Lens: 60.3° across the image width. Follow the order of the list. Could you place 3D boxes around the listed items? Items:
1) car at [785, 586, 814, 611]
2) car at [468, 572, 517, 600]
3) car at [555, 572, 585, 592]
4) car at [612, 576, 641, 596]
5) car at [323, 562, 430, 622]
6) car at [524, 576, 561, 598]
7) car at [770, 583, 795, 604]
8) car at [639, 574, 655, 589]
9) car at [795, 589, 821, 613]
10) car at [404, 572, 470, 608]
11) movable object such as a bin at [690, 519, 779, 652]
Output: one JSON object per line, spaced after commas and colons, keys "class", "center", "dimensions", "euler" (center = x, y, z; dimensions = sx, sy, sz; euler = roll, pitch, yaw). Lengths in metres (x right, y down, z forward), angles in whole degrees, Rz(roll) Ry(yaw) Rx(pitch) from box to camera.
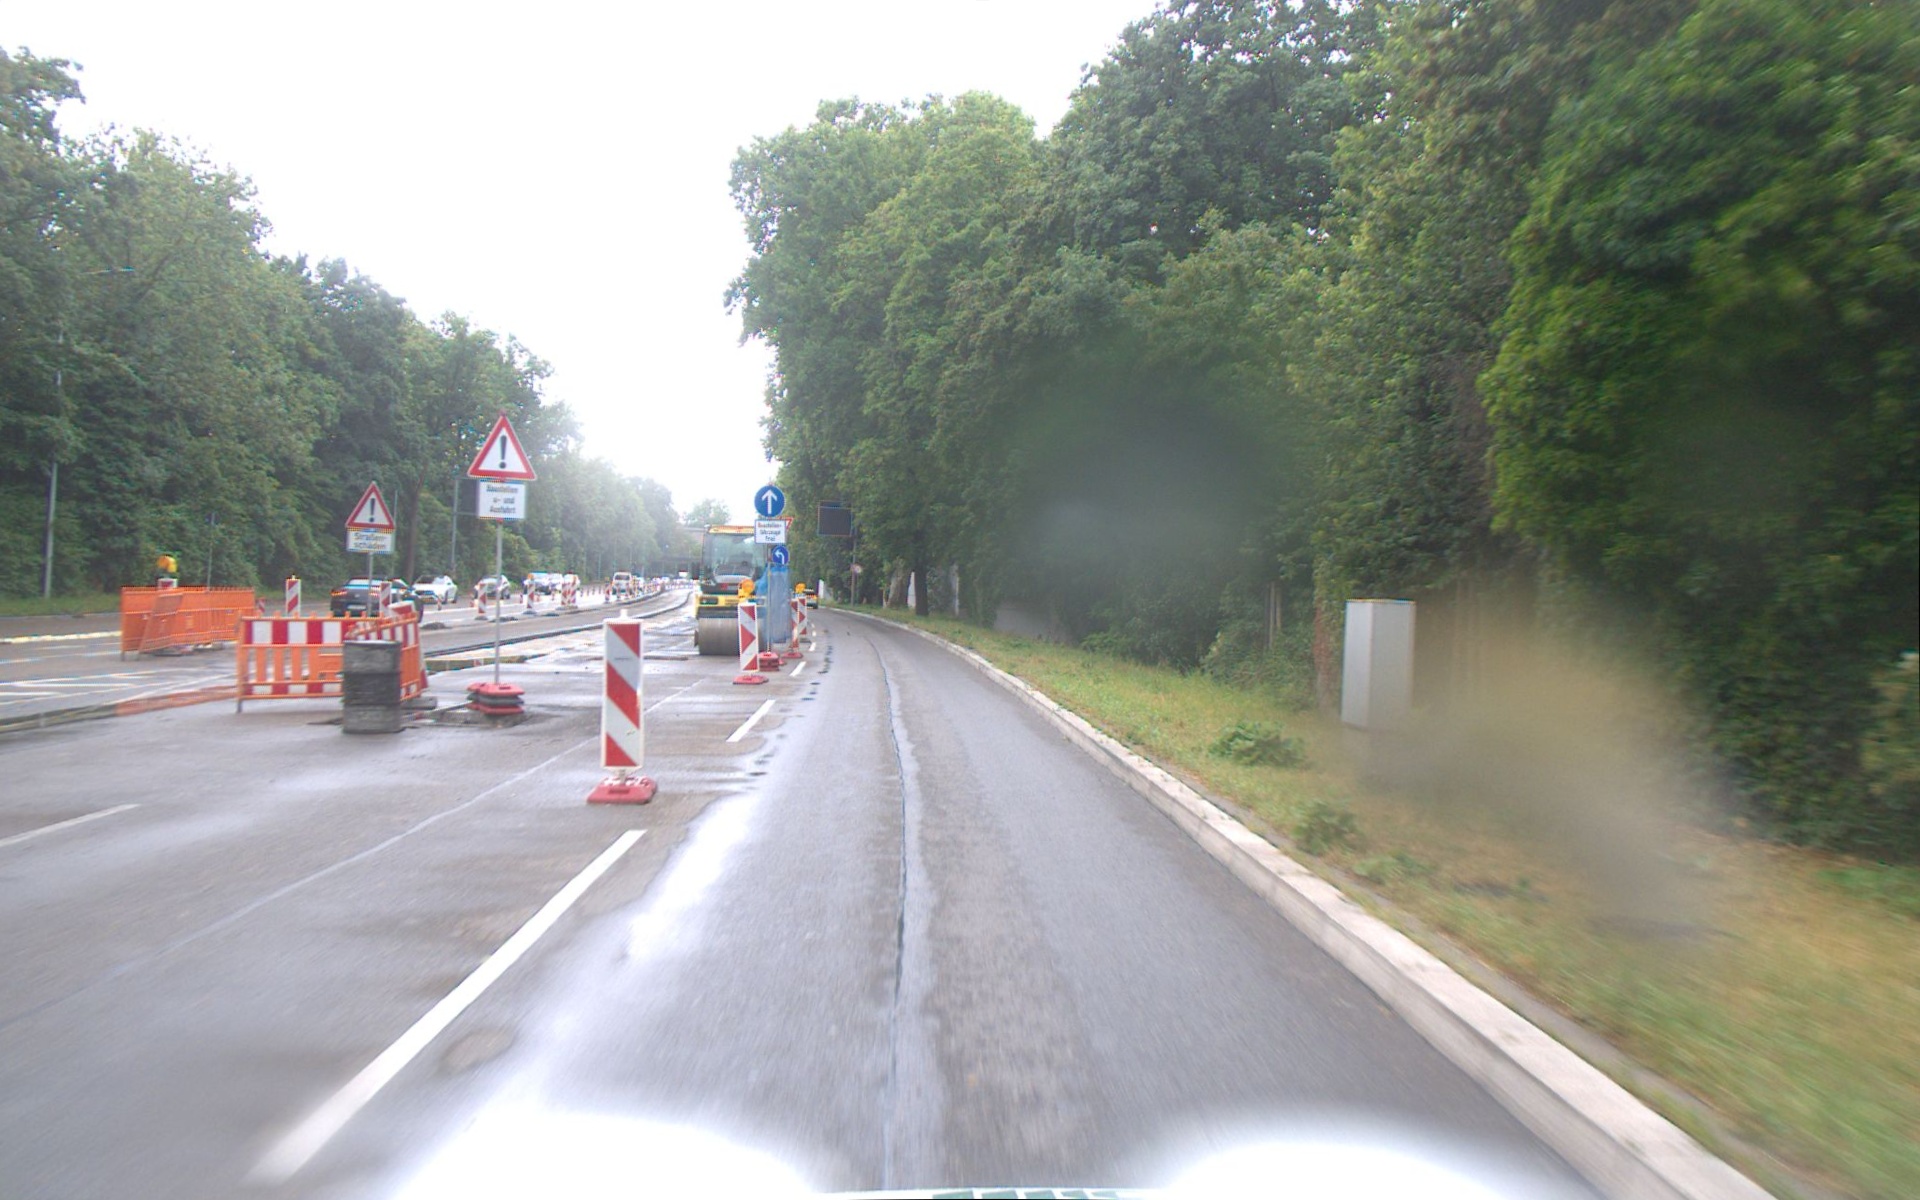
{"class": "car", "center": [-10.320, -0.089, 106.200], "dimensions": [1.723, 1.367, 3.995], "euler": [3, 2, -7]}
{"class": "car", "center": [-29.638, -0.887, 104.944], "dimensions": [1.888, 1.694, 4.651], "euler": [1, 0, -2]}
{"class": "car", "center": [-34.145, -1.597, 144.966], "dimensions": [1.890, 1.694, 4.647], "euler": [1, 0, -6]}
{"class": "car", "center": [-31.253, -1.281, 155.044], "dimensions": [1.888, 1.809, 4.651], "euler": [1, 0, -2]}
{"class": "car", "center": [-17.209, -0.275, 48.974], "dimensions": [1.825, 1.517, 4.000], "euler": [3, 3, -2]}
{"class": "car", "center": [-33.192, -1.054, 131.658], "dimensions": [1.888, 1.694, 4.651], "euler": [1, 0, -2]}
{"class": "car", "center": [-13.314, -0.477, 123.984], "dimensions": [1.723, 1.367, 3.995], "euler": [3, 2, -7]}
{"class": "car", "center": [-35.771, -2.100, 189.054], "dimensions": [1.539, 1.482, 3.367], "euler": [4, 1, -15]}
{"class": "car", "center": [-11.658, 0.041, 126.600], "dimensions": [1.877, 1.625, 4.827], "euler": [2, 1, -7]}
{"class": "car", "center": [-26.190, -0.494, 82.929], "dimensions": [1.888, 1.694, 4.651], "euler": [1, 0, -2]}
{"class": "movable object such as a bin", "center": [-5.191, -0.323, 38.445], "dimensions": [1.712, 2.917, 3.532], "euler": [1, 0, -3]}
